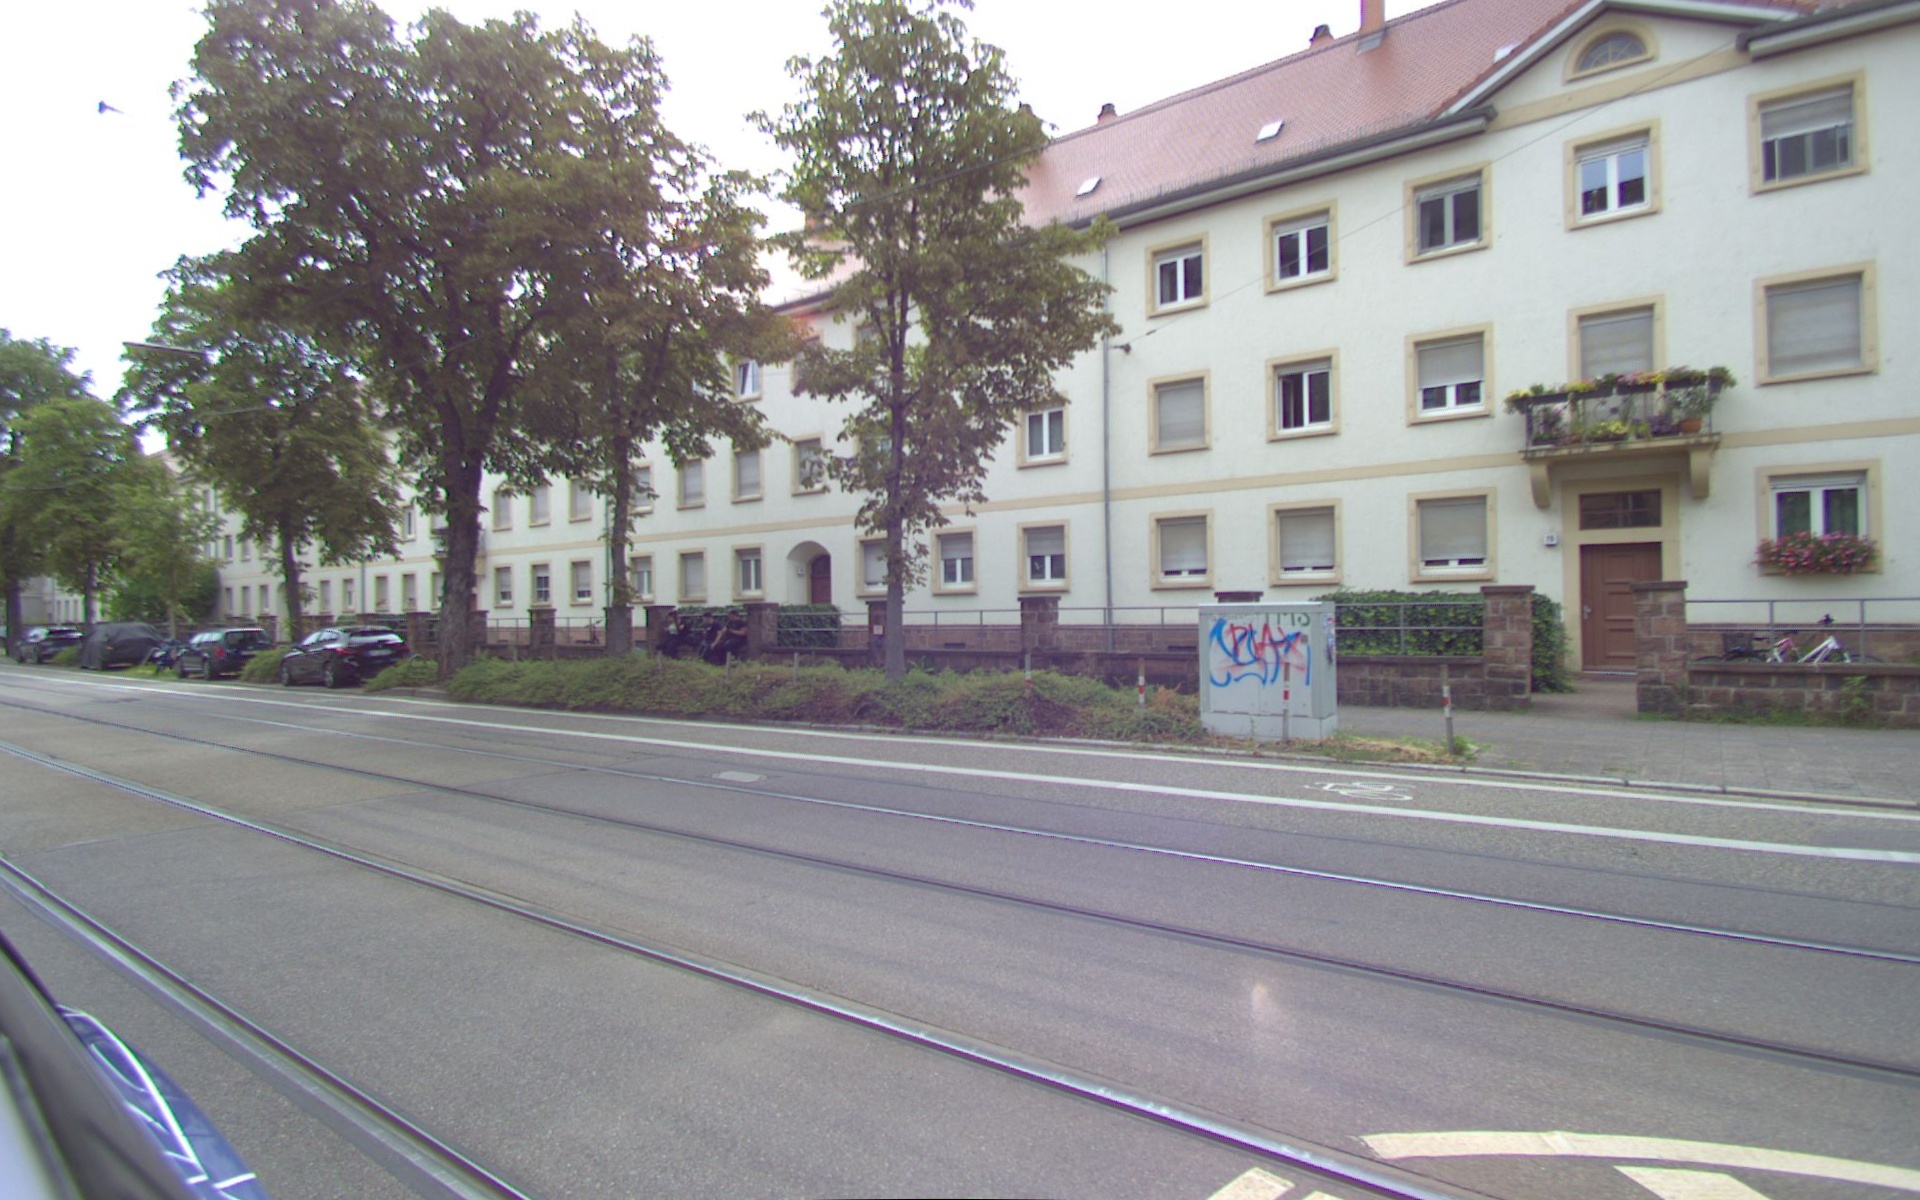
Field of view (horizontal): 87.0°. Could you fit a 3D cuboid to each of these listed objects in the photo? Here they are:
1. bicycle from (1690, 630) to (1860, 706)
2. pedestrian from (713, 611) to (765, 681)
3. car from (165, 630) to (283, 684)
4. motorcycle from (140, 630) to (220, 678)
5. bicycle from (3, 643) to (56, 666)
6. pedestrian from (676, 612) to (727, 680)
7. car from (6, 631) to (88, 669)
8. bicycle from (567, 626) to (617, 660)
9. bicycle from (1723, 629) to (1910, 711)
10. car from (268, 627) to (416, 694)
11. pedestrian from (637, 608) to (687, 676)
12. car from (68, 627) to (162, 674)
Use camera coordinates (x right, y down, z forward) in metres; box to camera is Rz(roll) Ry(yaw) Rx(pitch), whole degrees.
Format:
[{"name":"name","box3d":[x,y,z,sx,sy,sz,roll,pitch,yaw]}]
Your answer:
[{"name":"bicycle","box3d":[10.494,0.862,13.104,1.669,0.922,0.473,-2,-2,38]},{"name":"pedestrian","box3d":[-4.772,0.983,21.849,0.730,1.476,0.826,-2,-1,32]},{"name":"car","box3d":[-21.981,1.661,30.157,4.293,1.434,1.681,-2,0,37]},{"name":"motorcycle","box3d":[-25.045,1.720,32.540,0.590,1.269,1.852,-2,4,33]},{"name":"bicycle","box3d":[-42.005,2.434,45.706,0.670,0.978,1.656,-1,-1,28]},{"name":"pedestrian","box3d":[-5.726,1.003,22.448,0.730,1.476,0.826,-2,-1,32]},{"name":"car","box3d":[-38.486,2.072,42.631,4.290,1.481,1.682,-2,-1,35]},{"name":"bicycle","box3d":[-9.742,1.125,26.780,1.548,0.869,0.504,-2,-2,38]},{"name":"bicycle","box3d":[10.193,0.814,12.122,1.669,0.922,0.473,-2,-2,38]},{"name":"car","box3d":[-15.497,1.457,25.304,4.293,1.434,1.681,-2,2,37]},{"name":"pedestrian","box3d":[-6.864,0.958,23.319,0.730,1.524,0.826,-2,-1,32]},{"name":"car","box3d":[-31.064,1.813,37.156,4.293,1.624,1.769,-2,-1,37]}]
